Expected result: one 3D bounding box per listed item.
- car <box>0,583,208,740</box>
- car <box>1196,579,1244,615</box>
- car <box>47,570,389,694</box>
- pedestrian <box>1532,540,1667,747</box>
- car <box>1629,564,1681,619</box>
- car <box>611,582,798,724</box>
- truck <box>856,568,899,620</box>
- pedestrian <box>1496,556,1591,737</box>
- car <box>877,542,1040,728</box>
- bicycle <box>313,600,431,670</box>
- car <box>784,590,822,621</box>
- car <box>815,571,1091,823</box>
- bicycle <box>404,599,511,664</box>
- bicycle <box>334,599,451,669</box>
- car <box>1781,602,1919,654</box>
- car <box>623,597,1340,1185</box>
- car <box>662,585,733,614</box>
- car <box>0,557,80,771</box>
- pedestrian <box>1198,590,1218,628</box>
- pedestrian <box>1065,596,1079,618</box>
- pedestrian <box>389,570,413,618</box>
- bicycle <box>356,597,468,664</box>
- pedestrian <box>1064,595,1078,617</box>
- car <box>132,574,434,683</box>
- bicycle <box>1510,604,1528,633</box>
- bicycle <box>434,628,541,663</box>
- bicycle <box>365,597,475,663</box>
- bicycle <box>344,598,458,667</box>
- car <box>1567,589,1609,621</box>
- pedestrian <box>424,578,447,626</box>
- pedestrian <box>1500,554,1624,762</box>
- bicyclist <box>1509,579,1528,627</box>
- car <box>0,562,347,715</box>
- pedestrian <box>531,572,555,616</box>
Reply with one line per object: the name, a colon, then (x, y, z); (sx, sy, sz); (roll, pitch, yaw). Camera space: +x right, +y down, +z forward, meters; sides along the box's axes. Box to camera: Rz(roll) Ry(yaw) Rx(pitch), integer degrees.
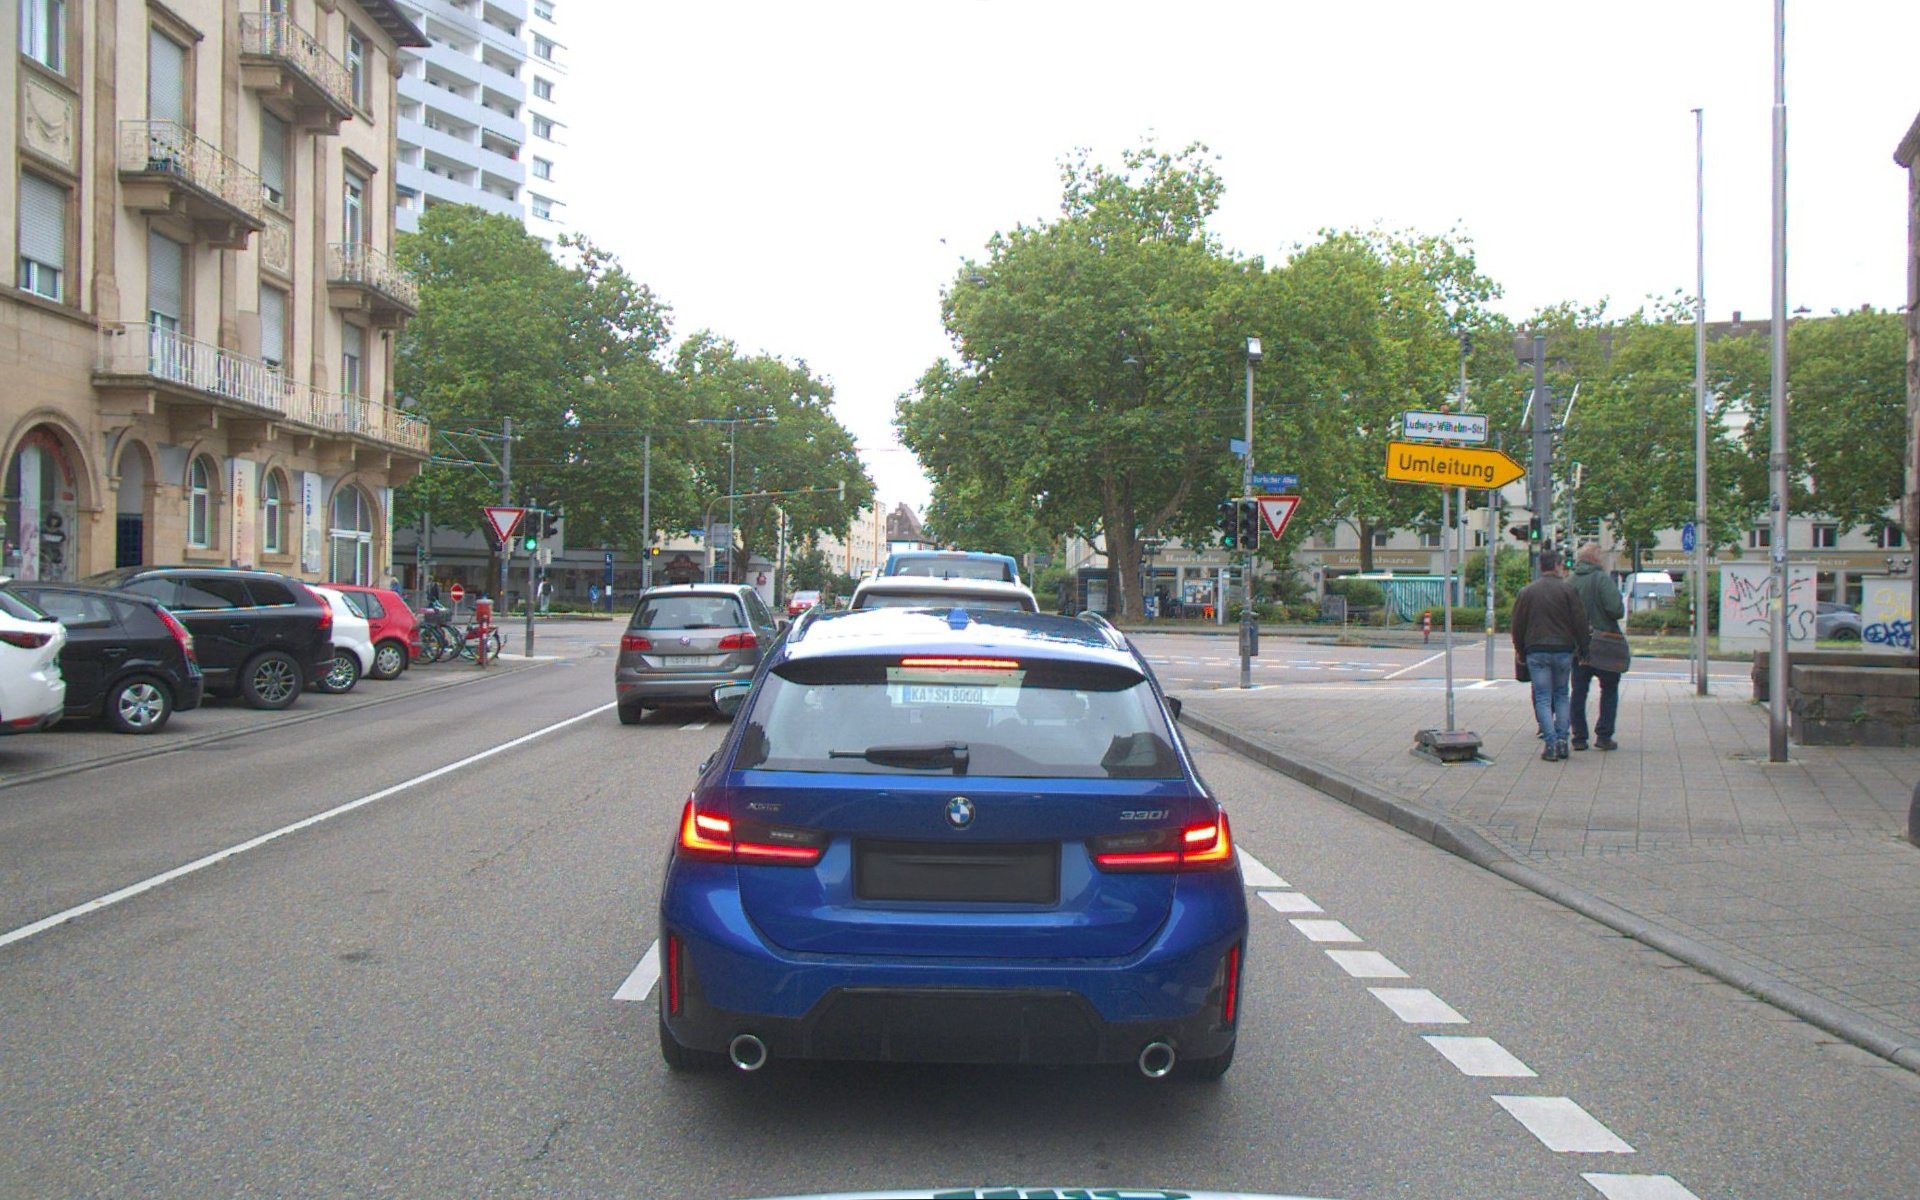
car: (-9.916, 0.587, 16.677); (3.959, 1.521, 1.708); (1, 0, -39)
car: (16.953, -0.202, 107.663); (2.130, 2.239, 3.999); (0, 0, 23)
car: (-10.097, 0.469, 22.696); (3.968, 1.498, 1.540); (3, 0, -44)
pedestrian: (5.757, 0.374, 14.943); (0.788, 1.789, 0.969); (-2, 0, -1)
car: (34.915, -0.436, 82.987); (2.191, 2.685, 5.443); (1, 0, 25)
car: (-2.993, 0.569, 20.119); (1.697, 1.551, 3.999); (0, 0, -1)
truck: (-4.039, -0.297, 81.007); (2.033, 2.450, 5.460); (0, 1, -3)
pedestrian: (5.715, 0.439, 16.242); (0.619, 1.702, 0.970); (-2, 0, 6)
car: (-0.046, 0.375, 20.218); (1.778, 2.040, 3.999); (0, 0, -1)
bicycle: (-10.300, 0.610, 28.995); (1.848, 1.053, 0.442); (5, 0, 2)
car: (-7.832, 0.254, 82.911); (1.615, 1.472, 3.510); (0, 0, -1)
car: (-0.073, 0.611, 12.685); (1.778, 1.620, 3.999); (0, 0, -1)
bicycle: (-9.777, 0.616, 32.201); (1.849, 1.053, 0.442); (6, 0, -3)
bicycle: (-10.224, 0.608, 29.813); (1.849, 1.053, 0.442); (6, 0, -3)
car: (28.534, 0.877, 52.948); (3.895, 1.589, 1.687); (0, 0, 22)
car: (0.028, 0.723, 6.279); (1.778, 1.430, 4.319); (0, 0, -1)
car: (-16.569, -0.020, 104.539); (3.953, 1.736, 1.976); (1, 0, -35)
car: (-9.594, 0.489, 13.702); (3.937, 1.754, 1.826); (1, 0, -26)
pedestrian: (11.780, 0.436, 78.647); (0.768, 1.774, 0.925); (0, 0, -2)
pedestrian: (7.000, 0.437, 103.180); (0.835, 1.337, 0.762); (0, 0, -1)
pedestrian: (-21.099, -0.224, 62.426); (0.661, 1.802, 0.726); (0, 0, -1)
bicycle: (-10.274, 0.562, 31.009); (1.849, 1.053, 0.442); (6, 0, -3)
pedestrian: (6.998, 0.395, 104.127); (0.801, 1.396, 0.762); (0, 0, -1)
car: (-10.358, 0.437, 25.518); (1.653, 1.498, 3.978); (3, 1, 40)
bicycle: (20.044, 0.649, 59.293); (0.540, 1.013, 2.061); (0, 0, 21)
bicycle: (-9.474, 0.916, 33.245); (1.849, 0.453, 1.028); (6, 2, -3)
bicycle: (-10.320, 0.576, 31.644); (1.849, 1.053, 0.442); (6, 0, -3)
bicycle: (-10.247, 0.587, 30.348); (1.849, 1.053, 0.442); (6, 0, -3)
car: (31.028, 0.233, 81.640); (1.632, 1.542, 3.935); (1, 0, 25)
pedestrian: (-20.049, 0.074, 63.232); (0.661, 1.802, 0.726); (0, 0, -1)
pedestrian: (5.160, 0.477, 14.231); (0.660, 1.715, 0.969); (-2, 0, -1)
bicyclist: (20.003, 0.109, 59.204); (0.601, 1.683, 0.754); (0, 0, 20)
car: (-9.826, 0.432, 20.028); (4.192, 1.680, 1.704); (1, 0, -44)
pedestrian: (-17.216, -0.237, 68.244); (0.664, 1.802, 0.722); (0, 0, 41)
